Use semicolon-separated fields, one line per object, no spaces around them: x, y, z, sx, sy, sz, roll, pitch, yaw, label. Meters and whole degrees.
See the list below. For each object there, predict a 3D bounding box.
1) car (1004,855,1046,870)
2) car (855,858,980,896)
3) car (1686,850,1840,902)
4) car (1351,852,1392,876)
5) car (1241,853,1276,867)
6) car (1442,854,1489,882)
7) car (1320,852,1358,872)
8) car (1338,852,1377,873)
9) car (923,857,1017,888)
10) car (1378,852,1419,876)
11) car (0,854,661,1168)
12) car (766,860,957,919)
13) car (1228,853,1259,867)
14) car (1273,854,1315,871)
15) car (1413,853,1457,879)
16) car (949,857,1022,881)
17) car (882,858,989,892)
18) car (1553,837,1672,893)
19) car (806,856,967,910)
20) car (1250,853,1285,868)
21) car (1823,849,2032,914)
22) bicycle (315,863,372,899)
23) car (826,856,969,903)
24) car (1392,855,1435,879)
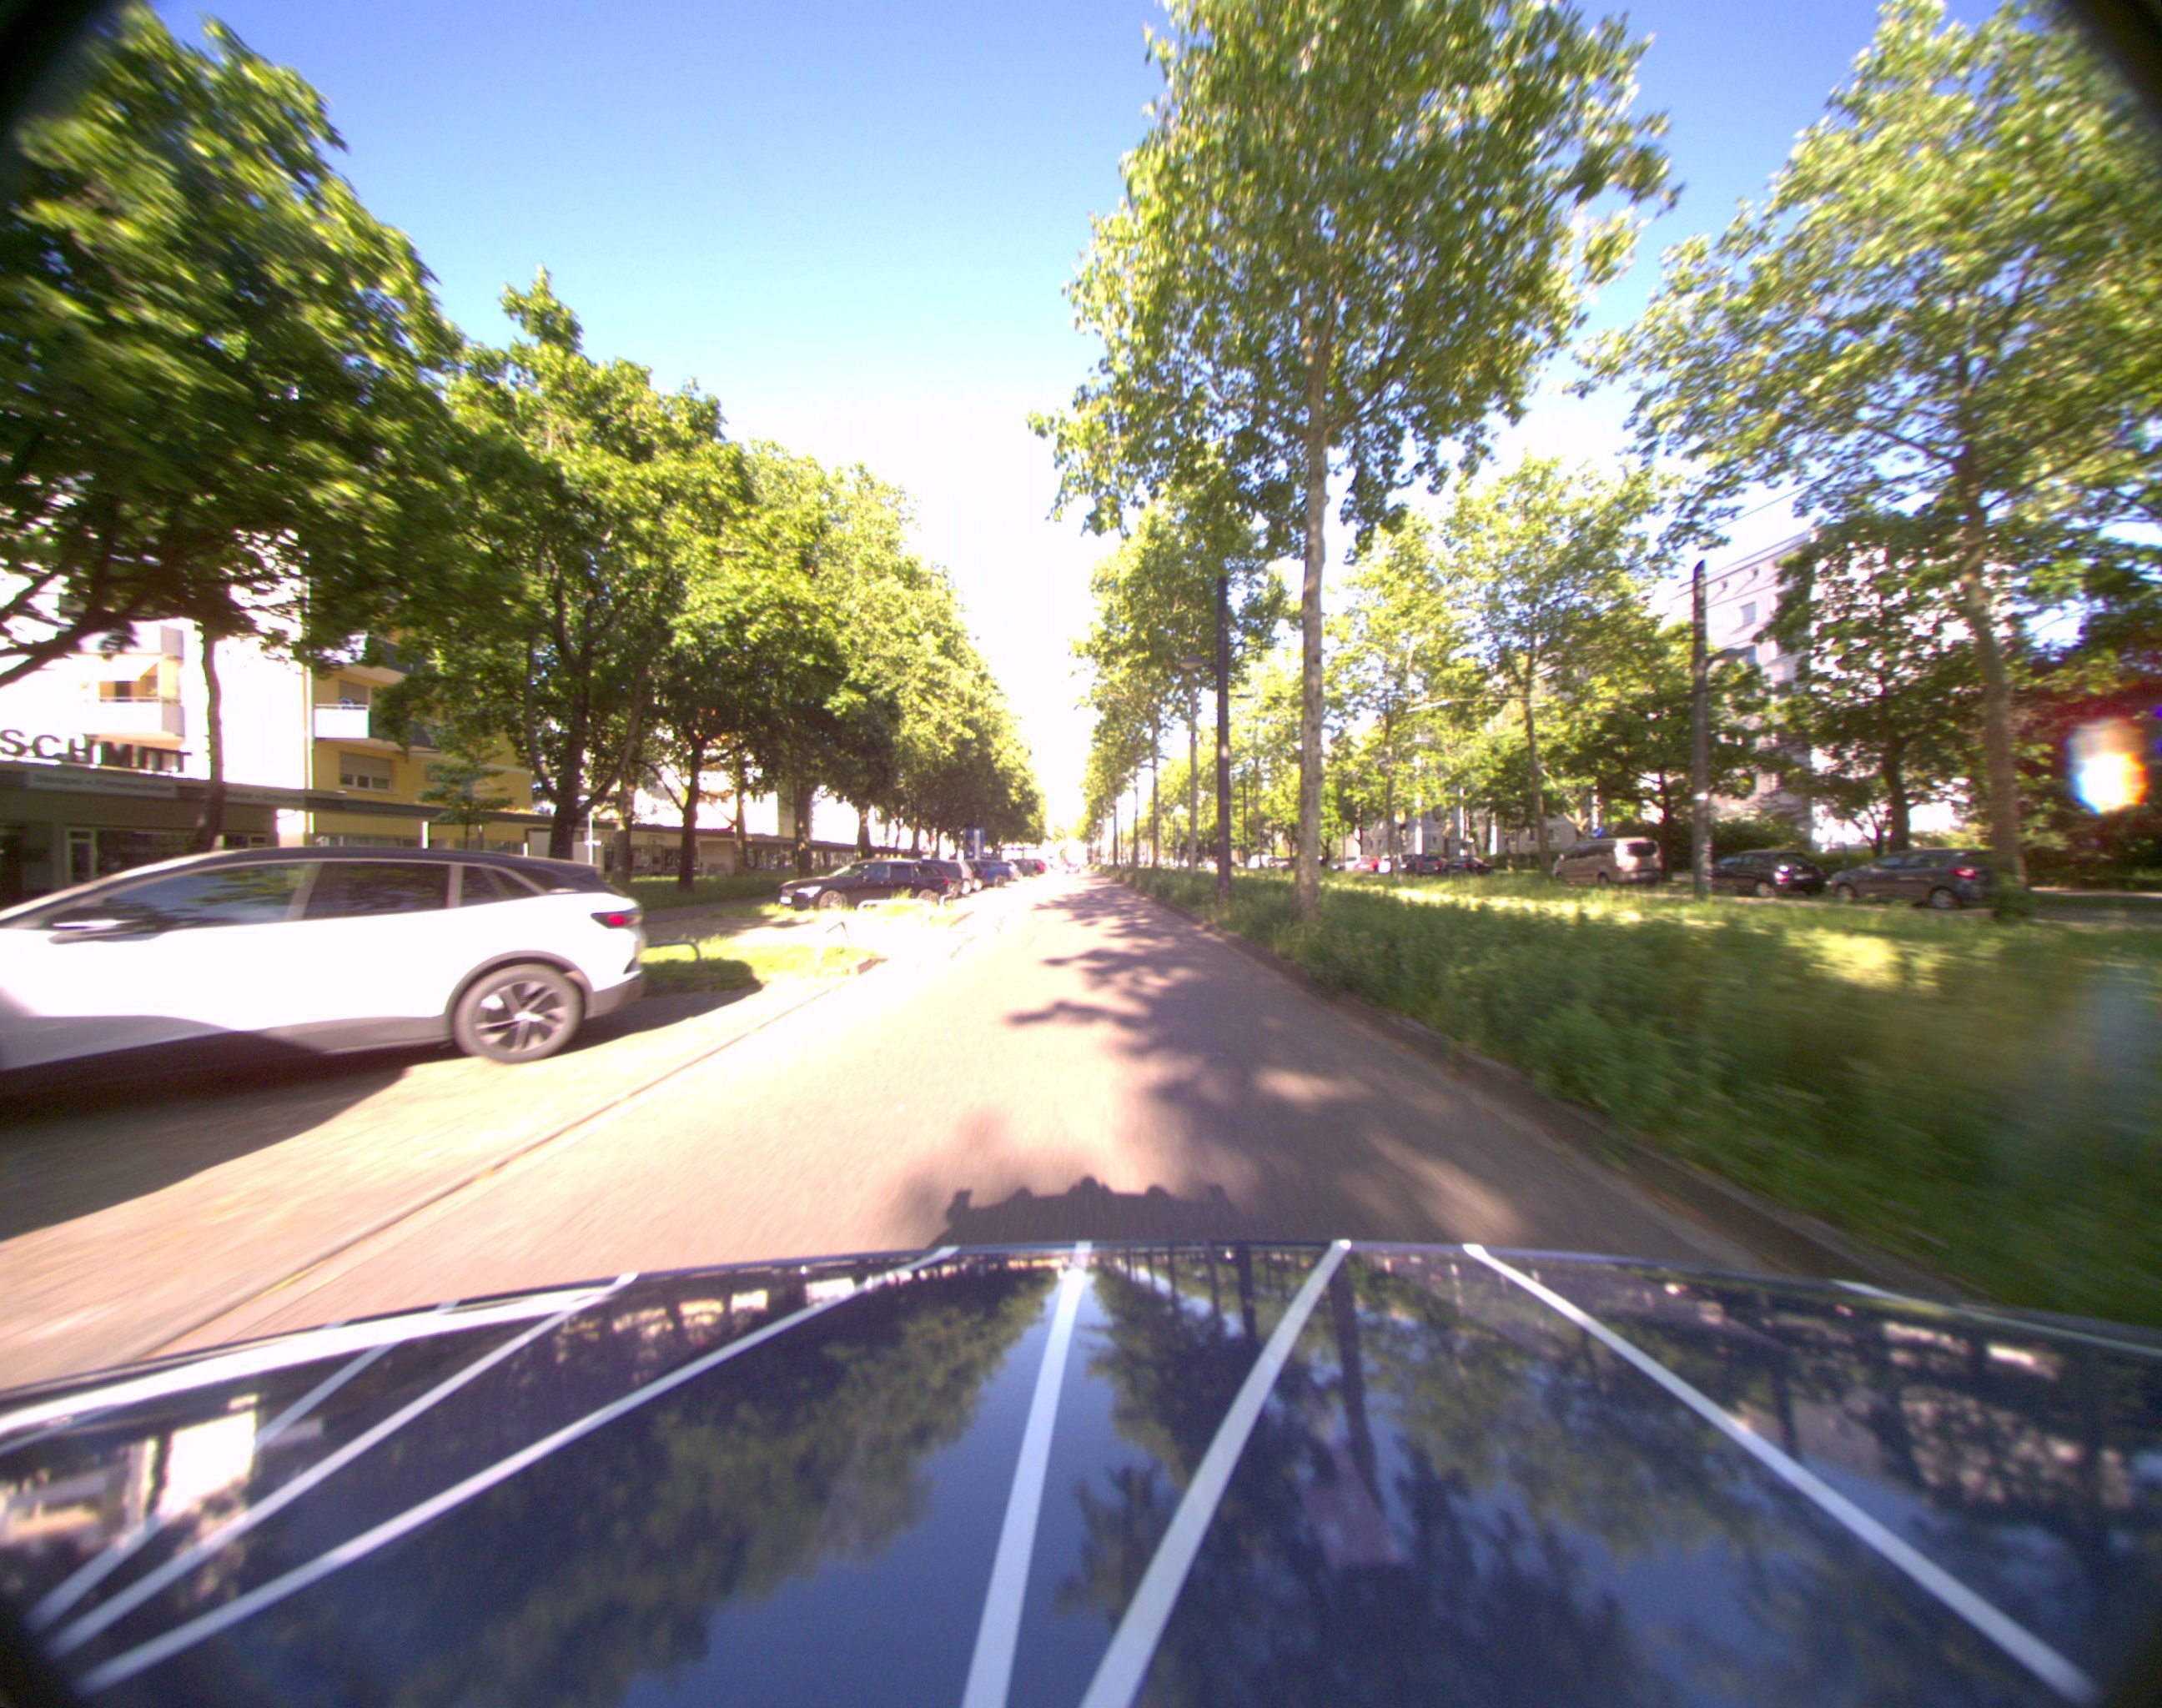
-6.141;0.959;84.022;1.894;1.663;4.510;1;0;44;car
-6.670;0.913;31.368;1.994;1.440;4.687;1;0;44;car
22.694;0.663;25.497;1.754;1.487;3.817;-4;1;1;car
23.712;0.798;61.934;1.895;1.699;4.509;-1;1;37;car
23.858;0.788;102.301;4.507;1.699;1.837;-2;1;-30;car
23.715;0.847;46.800;1.884;1.558;4.008;-1;1;37;car
23.733;0.707;69.842;1.895;1.699;4.509;-1;1;37;car
24.229;0.725;66.490;1.895;1.699;4.509;-1;1;37;car
-5.660;0.938;39.133;1.894;1.440;4.510;1;0;44;car
24.950;0.736;59.620;1.895;1.699;4.509;-1;1;37;car
-5.645;0.841;5.402;4.312;1.666;1.862;0;0;-44;car
-5.939;0.908;20.988;1.994;1.417;4.687;1;0;44;car
22.495;0.810;105.186;4.006;1.699;1.837;-2;1;-30;car
23.837;0.938;85.188;4.507;1.699;1.895;-2;1;-30;car
23.987;0.797;51.426;1.884;1.558;4.008;-1;1;37;car
-6.174;0.985;49.522;1.894;1.440;4.510;1;0;44;car
-6.585;0.932;34.709;1.894;1.440;4.510;1;0;44;car
22.458;0.417;32.355;1.986;2.045;4.278;-4;1;0;car
-6.221;0.885;24.684;1.994;1.556;4.687;1;0;44;car
23.412;0.863;95.431;4.006;1.699;1.837;-2;1;-30;car
22.345;0.667;20.269;1.544;1.480;3.570;-4;0;1;car
-28.038;1.013;28.905;0.506;1.299;1.660;-2;1;-2;bicycle
-6.564;0.888;27.561;1.994;1.512;4.687;1;0;44;car
24.087;0.952;55.002;1.884;1.558;4.008;-1;1;37;car
